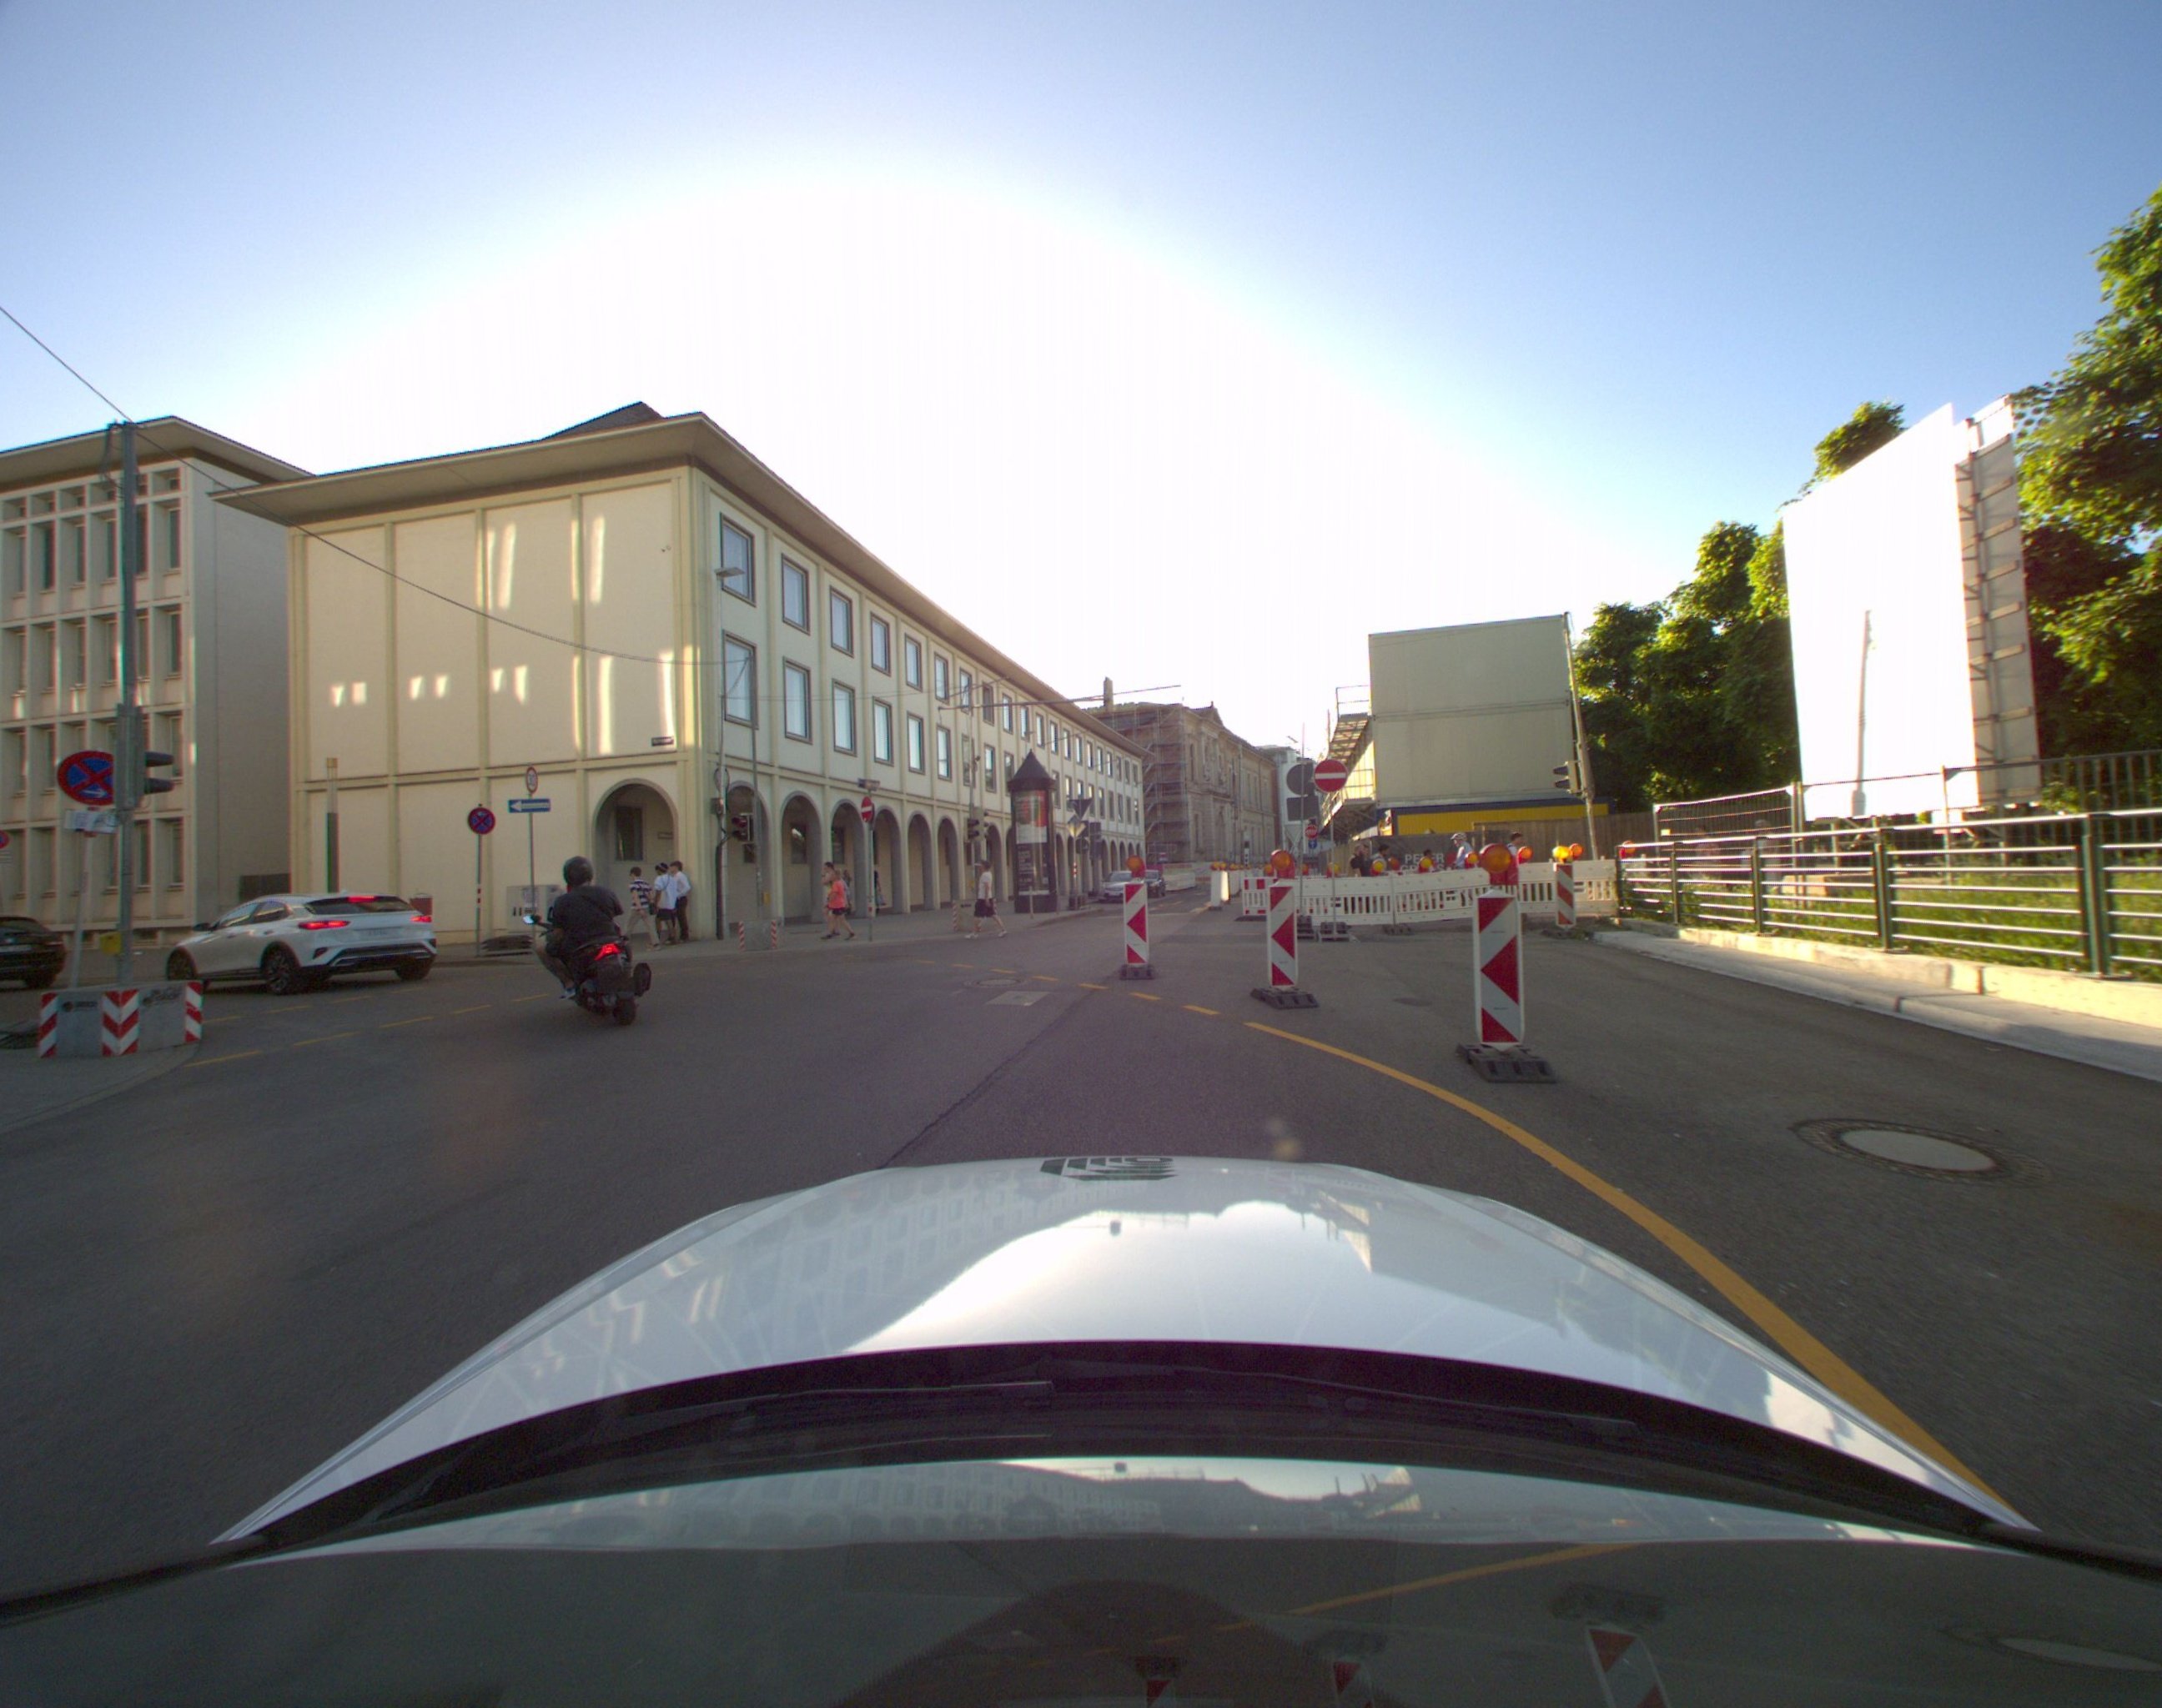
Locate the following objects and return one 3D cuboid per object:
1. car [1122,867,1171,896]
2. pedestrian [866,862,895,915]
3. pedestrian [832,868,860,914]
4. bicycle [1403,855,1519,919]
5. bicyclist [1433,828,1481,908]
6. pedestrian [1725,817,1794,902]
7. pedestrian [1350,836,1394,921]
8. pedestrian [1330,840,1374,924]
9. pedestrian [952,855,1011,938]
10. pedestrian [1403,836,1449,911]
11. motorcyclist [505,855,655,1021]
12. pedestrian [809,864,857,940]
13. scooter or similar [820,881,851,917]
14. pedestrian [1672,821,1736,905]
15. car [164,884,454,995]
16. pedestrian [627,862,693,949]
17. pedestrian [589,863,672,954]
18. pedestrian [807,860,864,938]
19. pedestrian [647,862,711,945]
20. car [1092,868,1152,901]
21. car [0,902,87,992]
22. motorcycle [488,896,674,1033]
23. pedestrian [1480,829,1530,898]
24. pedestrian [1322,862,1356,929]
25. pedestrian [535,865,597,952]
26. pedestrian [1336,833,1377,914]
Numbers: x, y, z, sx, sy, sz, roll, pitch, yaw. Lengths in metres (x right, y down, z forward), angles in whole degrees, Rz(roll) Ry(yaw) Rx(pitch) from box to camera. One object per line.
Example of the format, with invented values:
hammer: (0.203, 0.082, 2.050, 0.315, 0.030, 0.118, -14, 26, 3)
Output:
car: (3.628, 1.517, 44.626, 1.910, 1.466, 4.016, -1, -2, 16)
pedestrian: (-7.262, 1.239, 29.542, 0.635, 1.840, 0.730, -2, 1, 15)
pedestrian: (-8.529, 1.339, 29.557, 0.614, 1.624, 0.729, -2, 1, 11)
bicycle: (7.477, 0.653, 16.090, 1.978, 1.201, 0.479, -2, -1, 14)
bicyclist: (7.417, 0.280, 16.090, 0.696, 1.516, 0.689, -2, -1, 15)
pedestrian: (12.989, 0.105, 15.609, 0.746, 1.566, 0.660, -3, -1, -23)
pedestrian: (6.365, 0.533, 17.829, 0.731, 1.771, 0.624, -4, -1, 15)
pedestrian: (5.799, 0.597, 17.460, 0.731, 1.716, 0.624, -4, -1, 15)
pedestrian: (-2.167, 0.923, 17.833, 0.968, 1.728, 0.801, -4, -2, 11)
pedestrian: (7.793, 0.427, 18.405, 0.762, 1.619, 0.668, -4, -1, 15)
motorcyclist: (-5.250, 0.828, 8.527, 1.223, 1.559, 0.963, -3, -1, 41)
pedestrian: (-5.469, 1.050, 17.979, 0.720, 1.624, 0.622, -2, 1, 12)
scooter or similar: (-8.643, 1.577, 28.719, 0.614, 1.157, 0.961, -2, 2, 10)
pedestrian: (12.466, 0.174, 16.324, 0.731, 1.604, 0.646, -4, -1, 15)
car: (-12.318, 1.332, 13.018, 3.951, 1.472, 1.875, -3, 0, 23)
pedestrian: (-9.105, 1.106, 17.642, 0.932, 1.777, 0.713, -3, 1, 12)
pedestrian: (-9.458, 1.131, 17.121, 1.235, 1.801, 0.719, -3, 1, 11)
pedestrian: (-5.601, 1.018, 18.592, 0.958, 1.709, 0.678, -2, 1, 11)
pedestrian: (-9.012, 1.096, 18.264, 0.932, 1.777, 0.713, -3, 1, 12)
car: (1.985, 1.428, 38.171, 1.910, 1.466, 4.016, -1, -2, 16)
car: (-21.296, 1.802, 15.341, 4.061, 1.550, 1.788, -3, -1, 17)
motorcycle: (-5.341, 1.080, 8.609, 2.545, 1.183, 0.914, -3, -1, 41)
pedestrian: (9.430, 0.208, 18.140, 0.762, 1.462, 0.668, -4, -1, 15)
pedestrian: (5.138, 0.815, 16.246, 0.613, 1.300, 0.495, 0, 0, 14)
pedestrian: (-11.293, 1.186, 17.881, 0.768, 1.801, 0.713, -3, 1, 12)
pedestrian: (6.262, 0.447, 18.564, 0.731, 1.771, 0.726, -4, -1, 15)
